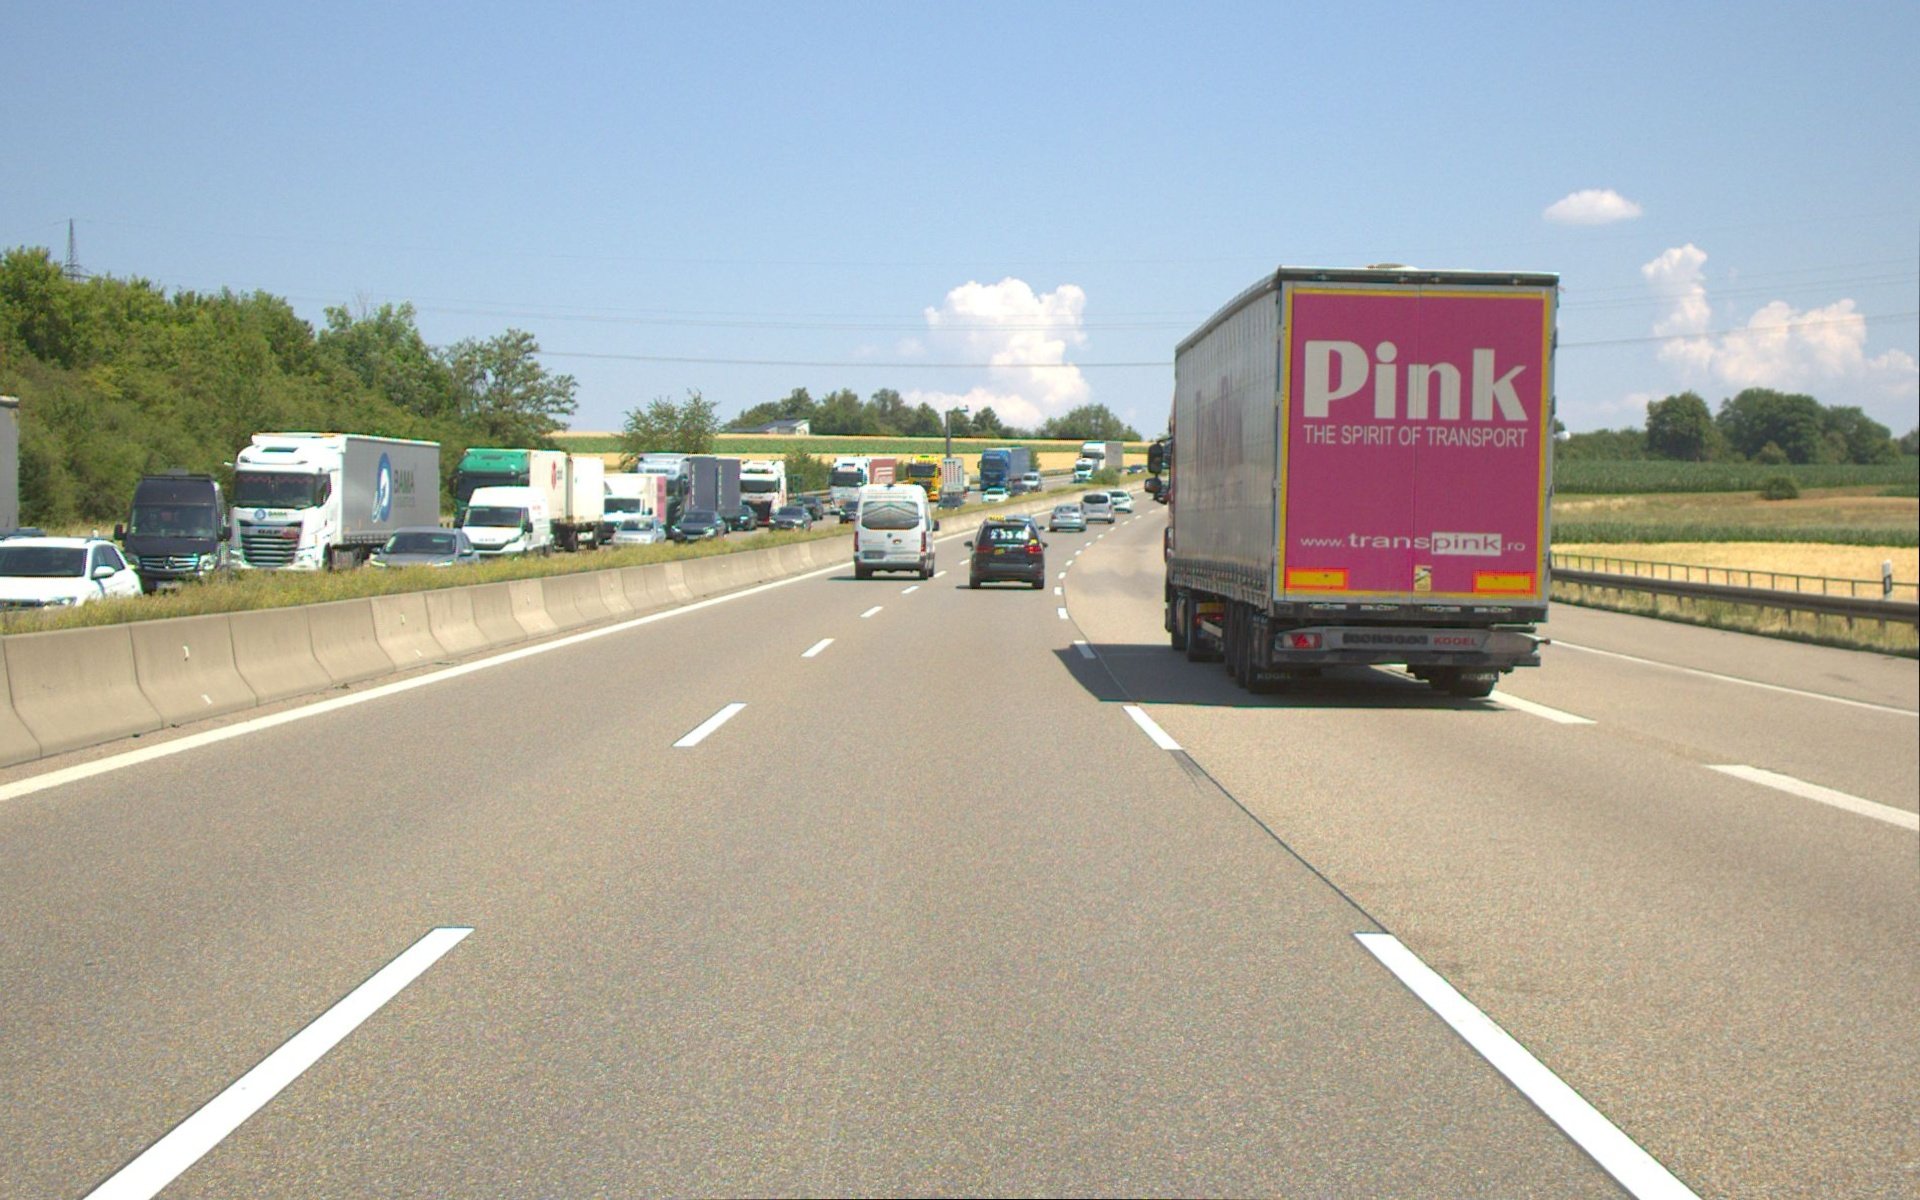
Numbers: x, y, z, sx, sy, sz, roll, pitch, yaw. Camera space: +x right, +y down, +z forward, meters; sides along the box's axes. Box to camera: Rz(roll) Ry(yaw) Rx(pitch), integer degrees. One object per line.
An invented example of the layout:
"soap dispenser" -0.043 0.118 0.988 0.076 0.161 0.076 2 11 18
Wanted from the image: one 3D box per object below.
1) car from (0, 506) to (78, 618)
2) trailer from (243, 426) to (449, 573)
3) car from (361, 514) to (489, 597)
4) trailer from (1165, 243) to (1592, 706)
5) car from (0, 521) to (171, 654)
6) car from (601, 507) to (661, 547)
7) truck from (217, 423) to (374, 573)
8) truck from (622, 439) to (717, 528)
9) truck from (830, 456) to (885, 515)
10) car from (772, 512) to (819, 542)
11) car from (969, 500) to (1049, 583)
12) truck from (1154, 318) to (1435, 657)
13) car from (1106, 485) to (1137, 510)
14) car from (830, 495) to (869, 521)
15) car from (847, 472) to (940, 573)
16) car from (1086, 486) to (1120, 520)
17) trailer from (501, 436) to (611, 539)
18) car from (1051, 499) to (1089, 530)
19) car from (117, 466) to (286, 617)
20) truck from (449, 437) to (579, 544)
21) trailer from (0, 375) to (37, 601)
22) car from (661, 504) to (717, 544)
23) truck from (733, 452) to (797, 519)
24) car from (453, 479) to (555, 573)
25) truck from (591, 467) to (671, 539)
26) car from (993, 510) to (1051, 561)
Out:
"car" -15.629 -0.633 54.642 1.993 1.709 4.792 0 1 0
"trailer" -18.199 -3.016 103.041 2.903 4.072 14.445 0 2 3
"car" -11.333 -0.979 73.124 1.932 1.682 4.797 -1 1 0
"trailer" 4.150 -1.332 37.681 2.918 4.103 13.859 1 2 0
"car" -11.738 -0.171 44.711 1.993 1.638 4.407 0 0 -1
"car" -12.912 -2.859 135.163 1.752 1.455 4.858 1 0 1
"truck" -18.472 -2.843 95.941 2.853 4.022 6.604 0 2 2
"truck" -14.293 -5.790 169.993 3.001 4.219 10.733 0 2 5
"truck" -7.252 -8.134 243.676 3.036 4.067 6.314 1 2 6
"car" -8.744 -3.881 182.776 1.994 1.540 5.494 0 2 3
"car" 1.177 -1.458 84.329 1.847 1.854 4.206 0 4 0
"truck" 4.167 -1.438 44.259 2.916 3.994 6.511 1 2 0
"car" 11.196 -7.115 238.106 1.994 1.546 4.000 2 4 5
"car" -6.878 -5.745 214.641 1.994 1.522 4.772 1 2 4
"car" -1.782 -2.068 93.231 2.180 2.616 4.672 1 0 3
"car" 8.548 -5.804 205.917 1.993 1.897 4.000 0 0 1
"trailer" -16.464 -4.623 140.594 2.920 4.057 8.230 -1 2 4
"car" 5.822 -4.526 182.273 1.993 1.579 4.000 0 1 2
"car" -15.871 -1.283 72.310 2.236 3.003 6.552 0 2 -1
"truck" -16.963 -4.228 131.504 2.843 3.885 11.247 -1 2 3
"trailer" -19.391 -2.009 59.083 2.982 4.192 14.194 1 1 1
"car" -11.862 -3.316 150.728 1.861 1.636 5.113 0 0 2
"truck" -11.439 -6.768 201.953 2.901 3.863 6.178 1 2 5
"car" -14.119 -2.245 106.791 2.139 2.776 6.625 1 0 1
"truck" -14.967 -4.458 156.739 2.538 3.196 7.589 0 2 3
"car" 2.191 -2.286 122.672 1.993 1.744 4.000 1 0 1
